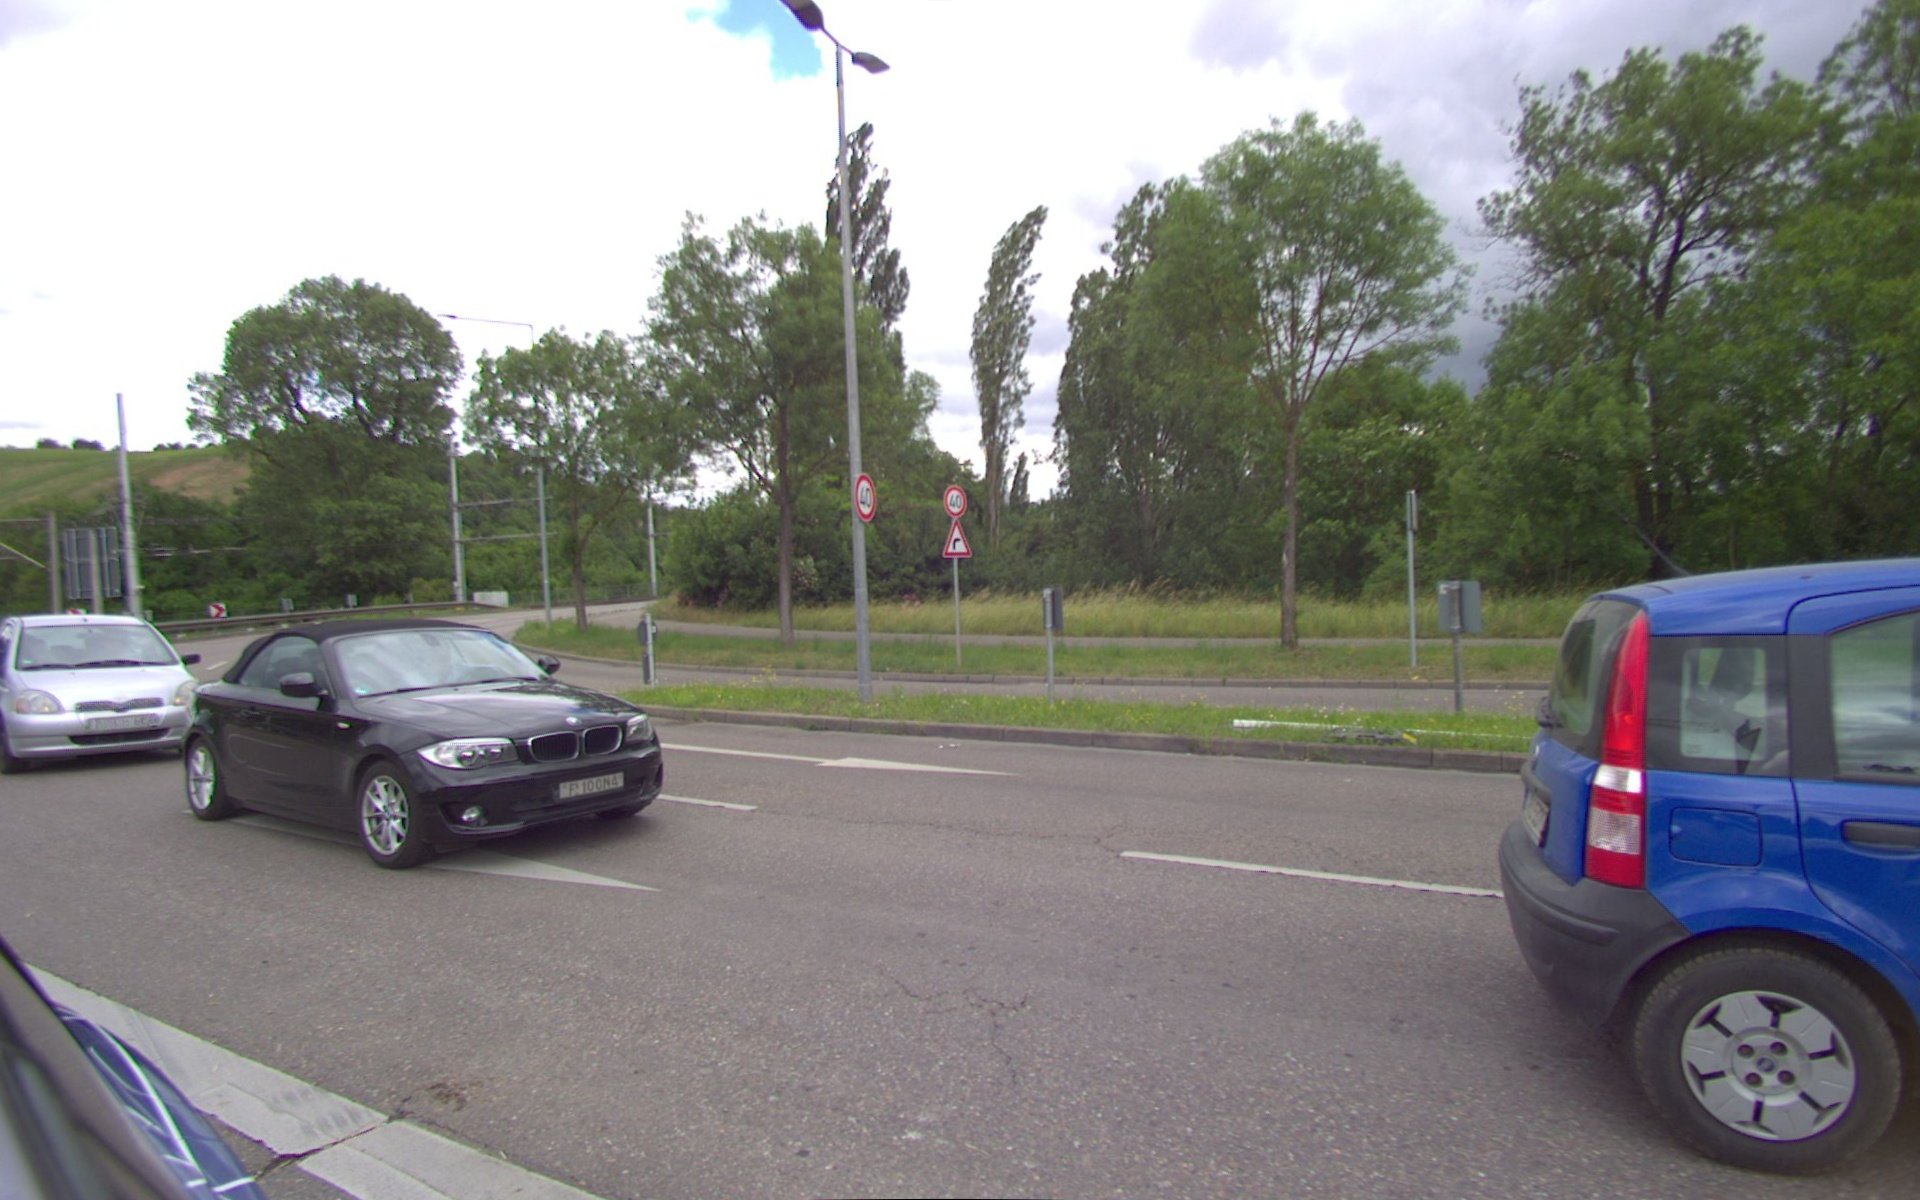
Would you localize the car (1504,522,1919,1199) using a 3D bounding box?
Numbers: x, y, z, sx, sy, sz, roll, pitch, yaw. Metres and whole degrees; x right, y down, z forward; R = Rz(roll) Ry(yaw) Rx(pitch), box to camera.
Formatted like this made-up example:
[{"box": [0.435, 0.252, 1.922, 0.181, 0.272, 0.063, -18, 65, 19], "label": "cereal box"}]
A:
[{"box": [3.336, 0.559, 2.511, 3.360, 1.519, 1.535, -1, 0, 25], "label": "car"}]

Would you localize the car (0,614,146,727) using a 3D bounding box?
[{"box": [-14.163, 0.994, 16.066, 1.849, 1.488, 4.972, -1, 0, -40], "label": "car"}]

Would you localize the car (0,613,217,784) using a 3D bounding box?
[{"box": [-9.518, 0.909, 10.861, 3.625, 1.480, 1.652, -1, 1, 40], "label": "car"}]

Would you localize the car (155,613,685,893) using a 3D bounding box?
[{"box": [-3.844, 0.823, 6.933, 4.074, 1.378, 1.550, -1, 0, 35], "label": "car"}]
